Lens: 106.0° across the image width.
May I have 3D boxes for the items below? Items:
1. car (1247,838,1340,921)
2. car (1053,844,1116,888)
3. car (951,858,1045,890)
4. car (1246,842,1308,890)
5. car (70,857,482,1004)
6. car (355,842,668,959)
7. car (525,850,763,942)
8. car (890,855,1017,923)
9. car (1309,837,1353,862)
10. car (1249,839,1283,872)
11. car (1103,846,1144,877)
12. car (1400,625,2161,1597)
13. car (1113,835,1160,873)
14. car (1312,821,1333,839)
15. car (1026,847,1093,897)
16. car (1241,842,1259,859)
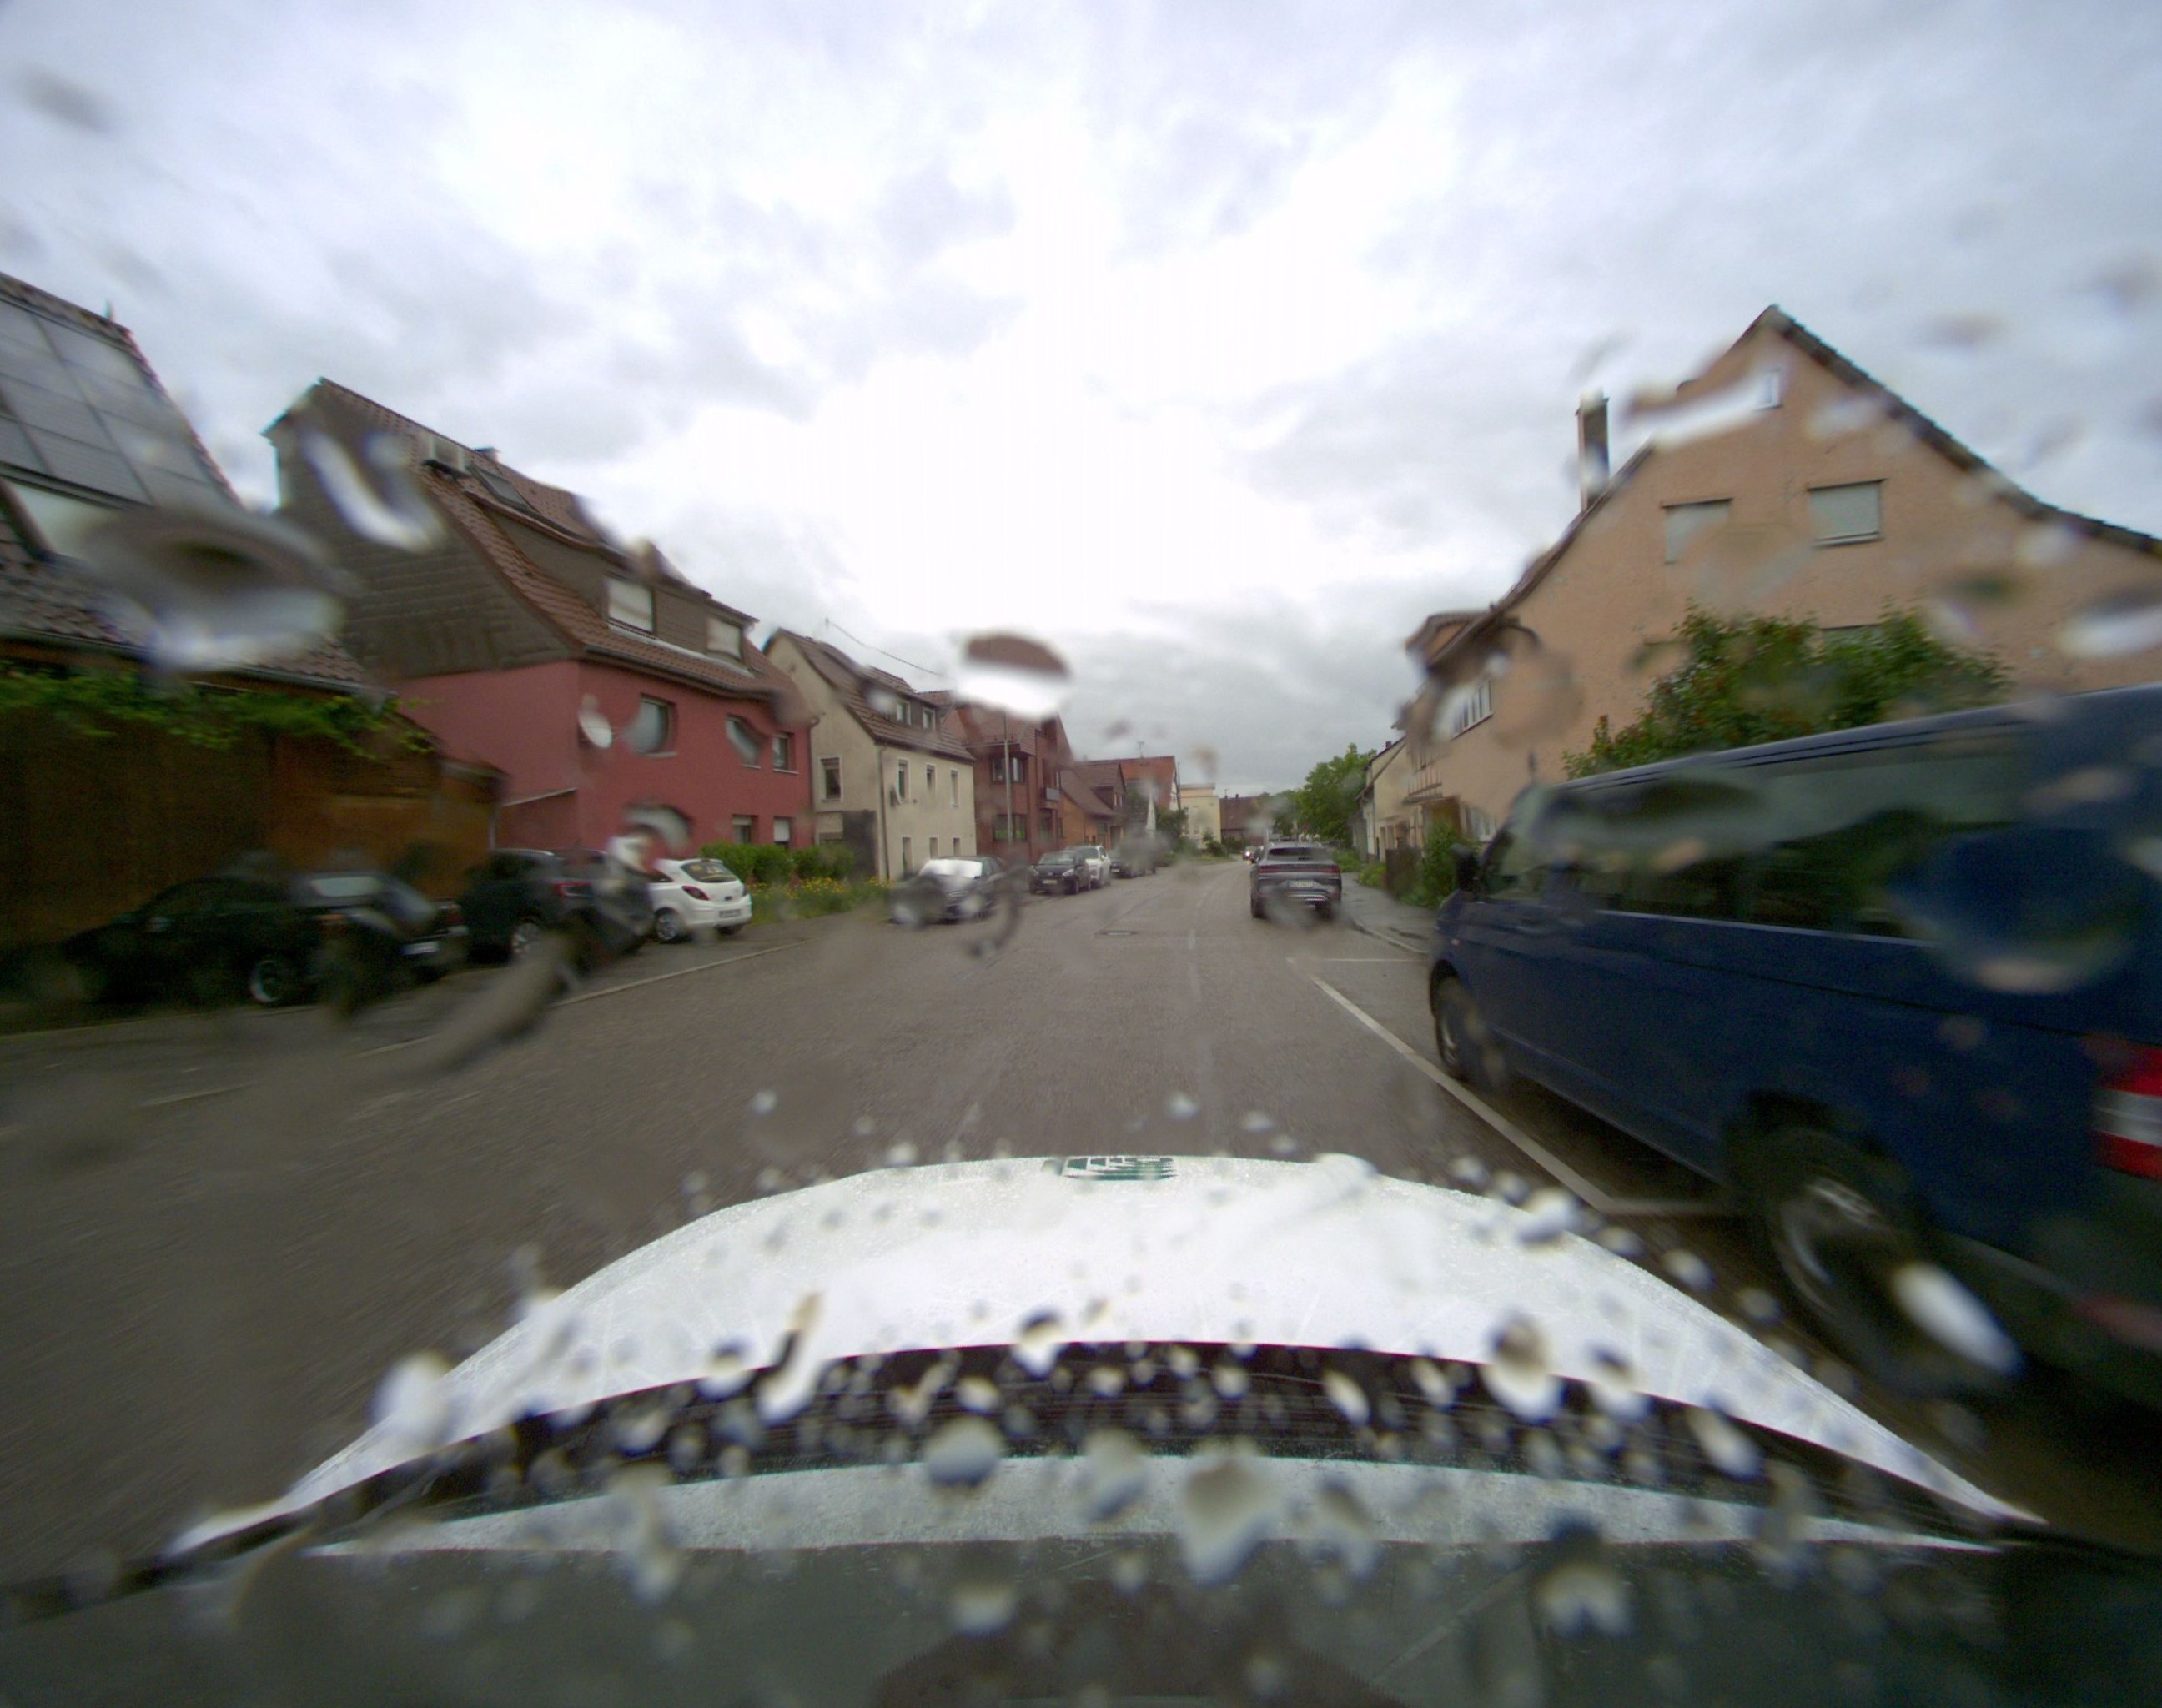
[{"bbox_3d":[4.902,0.514,19.310,1.896,1.717,4.570,0,0,11],"label":"car"},{"bbox_3d":[0.239,0.451,33.494,1.753,1.619,4.669,-2,0,10],"label":"car"},{"bbox_3d":[-4.074,0.982,40.174,4.139,1.403,1.797,-3,0,17],"label":"car"},{"bbox_3d":[7.001,0.399,29.503,1.792,1.595,4.623,-1,0,9],"label":"car"},{"bbox_3d":[-8.921,0.820,9.133,3.422,1.418,1.638,-2,0,12],"label":"car"},{"bbox_3d":[-8.235,0.594,11.897,3.550,1.506,1.863,0,0,14],"label":"car"},{"bbox_3d":[-7.600,0.698,14.286,3.437,1.479,1.596,-1,0,12],"label":"car"},{"bbox_3d":[-2.781,0.718,18.661,1.617,1.355,4.122,0,0,10],"label":"car"},{"bbox_3d":[17.543,-0.346,57.059,1.742,1.393,4.026,-9,-2,34],"label":"car"},{"bbox_3d":[10.397,0.080,45.900,1.738,1.710,4.013,-2,0,12],"label":"car"},{"bbox_3d":[2.288,0.356,42.681,1.568,1.497,3.579,-2,0,11],"label":"car"},{"bbox_3d":[3.266,0.492,3.919,1.921,1.902,4.800,0,0,5],"label":"car"},{"bbox_3d":[3.333,-0.011,47.692,1.808,2.013,5.234,-2,0,14],"label":"car"},{"bbox_3d":[21.399,-2.134,72.119,1.625,1.430,3.693,-2,0,17],"label":"car"},{"bbox_3d":[-0.690,0.581,28.792,1.595,1.617,3.287,-2,0,11],"label":"car"},{"bbox_3d":[21.020,-0.456,101.250,1.788,1.638,4.013,12,3,11],"label":"car"}]
